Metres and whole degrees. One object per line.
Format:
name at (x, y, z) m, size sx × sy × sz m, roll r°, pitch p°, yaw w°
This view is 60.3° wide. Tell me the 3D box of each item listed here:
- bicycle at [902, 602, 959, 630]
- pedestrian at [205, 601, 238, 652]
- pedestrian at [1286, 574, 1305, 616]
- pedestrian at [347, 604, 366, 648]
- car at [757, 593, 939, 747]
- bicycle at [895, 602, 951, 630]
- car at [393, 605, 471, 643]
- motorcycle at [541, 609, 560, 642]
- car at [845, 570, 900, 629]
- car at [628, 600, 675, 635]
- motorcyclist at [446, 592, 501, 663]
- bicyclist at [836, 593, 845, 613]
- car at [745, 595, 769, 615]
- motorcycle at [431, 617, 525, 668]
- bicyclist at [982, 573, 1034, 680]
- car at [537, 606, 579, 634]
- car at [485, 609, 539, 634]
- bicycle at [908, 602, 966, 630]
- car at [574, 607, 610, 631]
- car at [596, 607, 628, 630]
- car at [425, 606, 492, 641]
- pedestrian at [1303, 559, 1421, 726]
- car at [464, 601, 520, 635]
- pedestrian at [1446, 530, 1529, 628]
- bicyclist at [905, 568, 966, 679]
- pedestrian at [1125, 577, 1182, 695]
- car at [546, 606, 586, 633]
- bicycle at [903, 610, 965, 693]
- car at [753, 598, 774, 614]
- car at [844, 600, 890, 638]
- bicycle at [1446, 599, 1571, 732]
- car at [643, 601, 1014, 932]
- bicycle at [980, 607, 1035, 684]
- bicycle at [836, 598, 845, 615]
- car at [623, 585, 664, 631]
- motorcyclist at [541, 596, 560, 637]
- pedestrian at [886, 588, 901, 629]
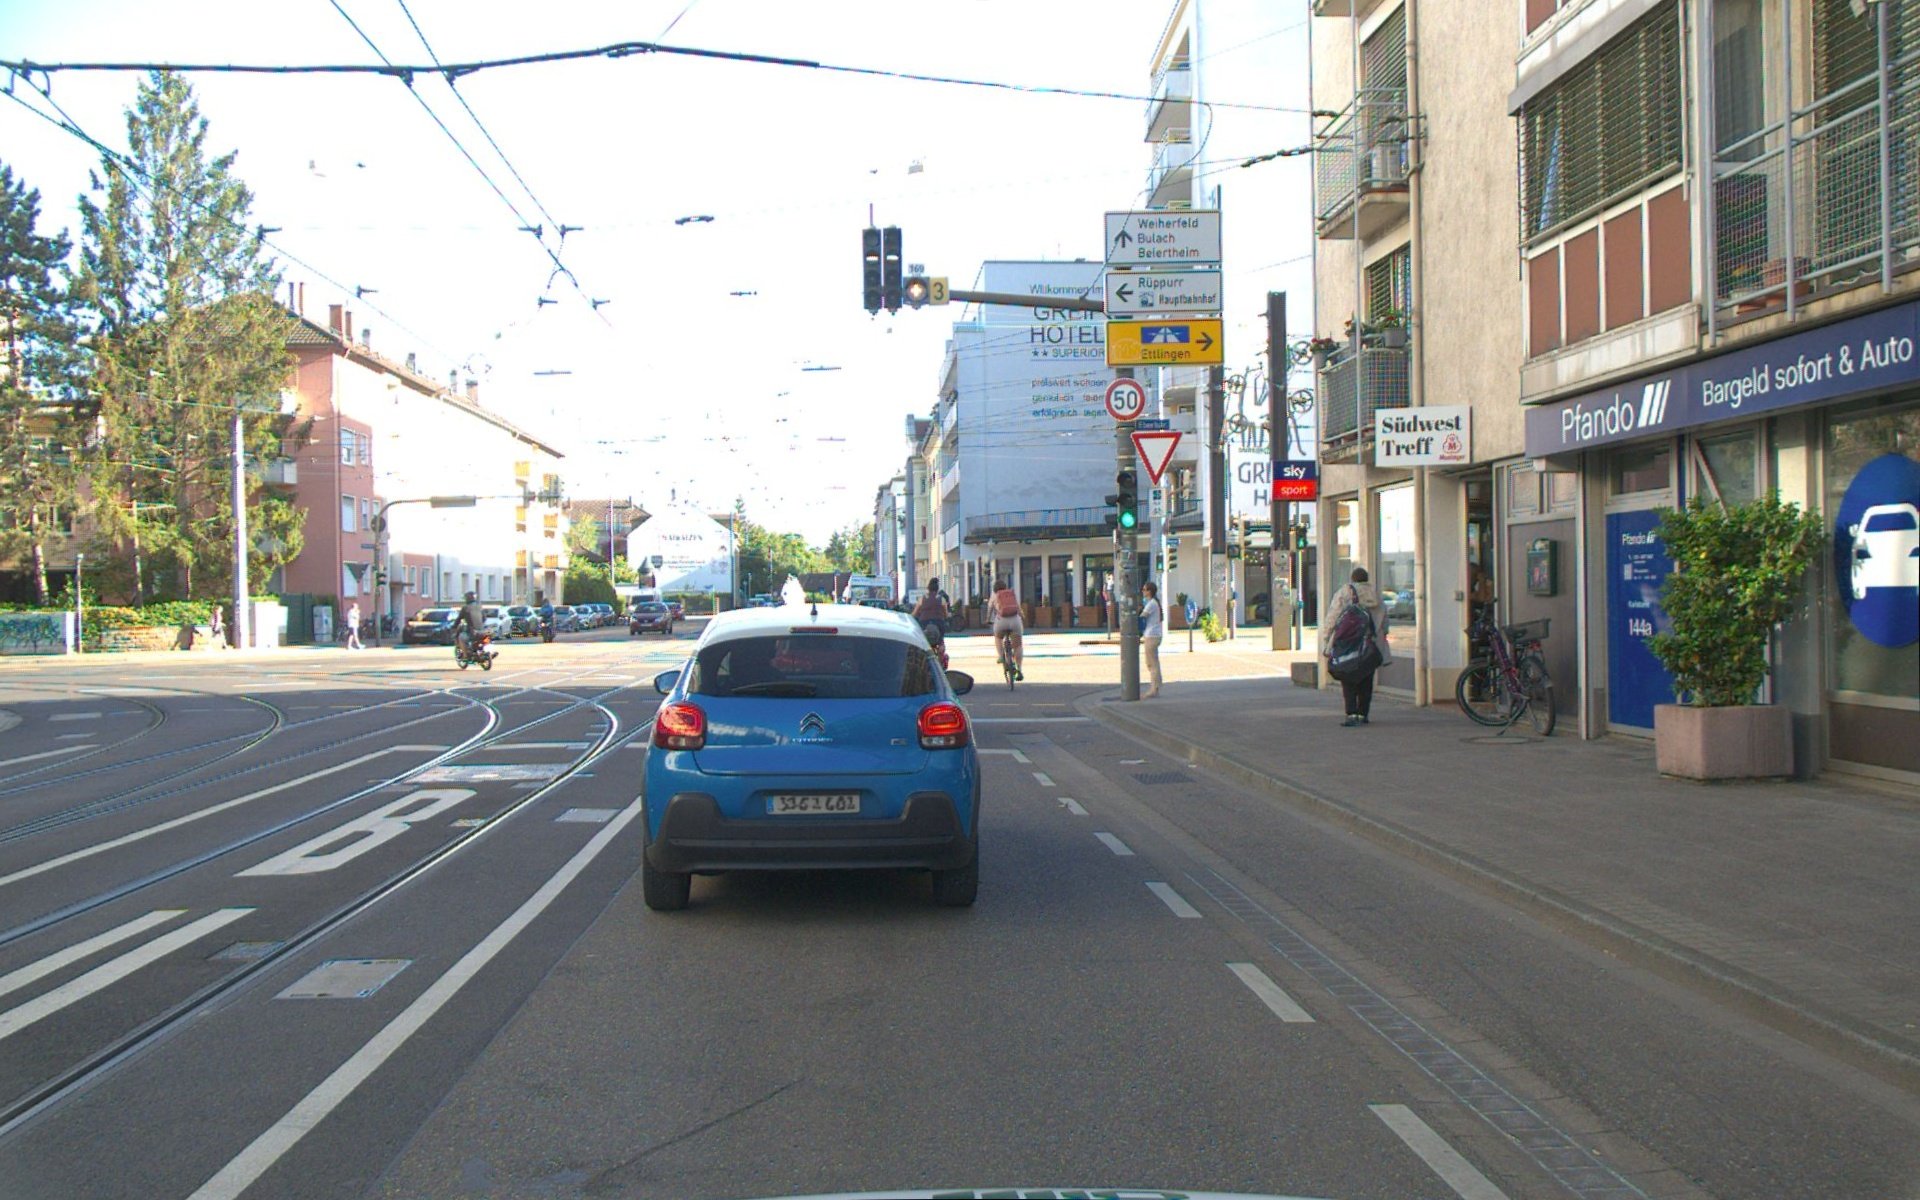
bicycle at (-1.194, 0.635, 66.984) m, size 2.208 × 1.019 × 0.855 m, roll -2°, pitch 0°, yaw -6°
pedestrian at (-25.755, 0.932, 57.709) m, size 0.690 × 1.752 × 0.782 m, roll 0°, pitch -1°, yaw 33°
pedestrian at (13.259, -0.192, 65.368) m, size 0.598 × 1.636 × 0.668 m, roll 1°, pitch -1°, yaw 27°
pedestrian at (-21.931, 0.948, 60.105) m, size 0.507 × 1.596 × 0.572 m, roll 1°, pitch -1°, yaw -10°
car at (-1.378, 0.725, 18.989) m, size 1.752 × 1.548 × 3.755 m, roll 1°, pitch 0°, yaw -9°
bicycle at (-1.541, 0.653, 68.077) m, size 2.208 × 1.019 × 0.855 m, roll -2°, pitch 0°, yaw -6°
car at (-21.852, 1.012, 68.622) m, size 2.112 × 1.457 × 4.435 m, roll 1°, pitch -2°, yaw -5°
motorcycle at (-15.619, 0.985, 63.064) m, size 0.700 × 1.241 × 1.958 m, roll -1°, pitch -2°, yaw -14°
car at (-3.885, -0.002, 72.609) m, size 2.221 × 2.525 × 5.002 m, roll 0°, pitch 0°, yaw -5°
car at (-14.125, 0.786, 75.856) m, size 1.744 × 1.512 × 3.824 m, roll -1°, pitch 0°, yaw -5°
motorcyclist at (-10.555, 0.594, 35.896) m, size 0.713 × 1.514 × 0.856 m, roll 1°, pitch -1°, yaw 30°
bicyclist at (-12.384, 0.325, 171.322) m, size 0.774 × 2.060 × 0.986 m, roll 1°, pitch -1°, yaw 1°
car at (-20.803, 0.501, 169.560) m, size 2.174 × 1.965 × 4.945 m, roll 1°, pitch 0°, yaw -4°
motorcycle at (-10.442, 0.910, 35.824) m, size 1.900 × 1.065 × 0.856 m, roll 1°, pitch -1°, yaw 30°
bicyclist at (0.795, 0.428, 27.153) m, size 0.794 × 1.721 × 0.935 m, roll 1°, pitch -1°, yaw 4°
car at (-23.728, 1.184, 97.675) m, size 1.833 × 1.604 × 3.995 m, roll 1°, pitch 0°, yaw -6°
car at (-23.157, 1.104, 85.634) m, size 1.909 × 1.261 × 4.278 m, roll 1°, pitch 0°, yaw -5°
bicycle at (-0.910, 0.640, 65.620) m, size 2.208 × 1.019 × 0.855 m, roll -2°, pitch 0°, yaw -6°
car at (-24.896, 1.261, 112.003) m, size 1.833 × 1.604 × 3.995 m, roll 1°, pitch 0°, yaw -6°
car at (-24.922, 1.305, 118.525) m, size 1.833 × 1.604 × 3.995 m, roll 1°, pitch 0°, yaw -6°
car at (-22.221, 1.030, 73.413) m, size 1.865 × 1.462 × 4.100 m, roll 1°, pitch 0°, yaw -2°
pedestrian at (4.102, 0.416, 16.925) m, size 0.868 × 1.619 × 0.809 m, roll -3°, pitch 1°, yaw -9°
car at (-22.343, 0.837, 79.089) m, size 1.707 × 1.553 × 4.226 m, roll 1°, pitch 0°, yaw -4°
pedestrian at (6.119, -0.245, 19.179) m, size 0.618 × 1.106 × 0.670 m, roll -2°, pitch 1°, yaw -38°
bicyclist at (-0.398, 0.363, 26.108) m, size 0.921 × 1.702 × 1.079 m, roll 1°, pitch -1°, yaw -2°
pedestrian at (2.801, 0.518, 23.928) m, size 0.528 × 1.652 × 0.733 m, roll -5°, pitch -2°, yaw 21°
car at (-24.342, 1.204, 102.191) m, size 1.833 × 1.604 × 3.995 m, roll 1°, pitch 0°, yaw -6°
bicycle at (-0.418, 0.790, 26.148) m, size 0.921 × 1.245 × 2.094 m, roll 1°, pitch 0°, yaw -2°
car at (-22.252, 0.672, 187.398) m, size 2.033 × 1.793 × 5.033 m, roll 1°, pitch 0°, yaw -4°
car at (-3.822, 0.764, 67.497) m, size 1.626 × 1.456 × 3.883 m, roll 1°, pitch 0°, yaw -7°
bicycle at (5.153, 0.591, 15.643) m, size 0.486 × 1.182 × 1.776 m, roll -1°, pitch -1°, yaw -3°
car at (-0.908, 0.754, 9.378) m, size 1.705 × 1.478 × 3.653 m, roll 0°, pitch 0°, yaw -10°
bicycle at (0.797, 0.724, 27.248) m, size 0.794 × 1.202 × 2.065 m, roll 1°, pitch 0°, yaw 4°
bicycle at (-12.389, 0.681, 171.316) m, size 0.774 × 1.699 × 2.230 m, roll 1°, pitch -1°, yaw 1°
car at (-22.691, 0.568, 118.572) m, size 2.370 × 3.197 × 3.486 m, roll 1°, pitch -1°, yaw -3°
motorcyclist at (-15.628, 0.633, 63.107) m, size 0.681 × 1.523 × 0.682 m, roll -1°, pitch -2°, yaw -15°
pedestrian at (-2.765, 0.364, 69.161) m, size 0.600 × 1.683 × 0.671 m, roll 1°, pitch -1°, yaw -2°
